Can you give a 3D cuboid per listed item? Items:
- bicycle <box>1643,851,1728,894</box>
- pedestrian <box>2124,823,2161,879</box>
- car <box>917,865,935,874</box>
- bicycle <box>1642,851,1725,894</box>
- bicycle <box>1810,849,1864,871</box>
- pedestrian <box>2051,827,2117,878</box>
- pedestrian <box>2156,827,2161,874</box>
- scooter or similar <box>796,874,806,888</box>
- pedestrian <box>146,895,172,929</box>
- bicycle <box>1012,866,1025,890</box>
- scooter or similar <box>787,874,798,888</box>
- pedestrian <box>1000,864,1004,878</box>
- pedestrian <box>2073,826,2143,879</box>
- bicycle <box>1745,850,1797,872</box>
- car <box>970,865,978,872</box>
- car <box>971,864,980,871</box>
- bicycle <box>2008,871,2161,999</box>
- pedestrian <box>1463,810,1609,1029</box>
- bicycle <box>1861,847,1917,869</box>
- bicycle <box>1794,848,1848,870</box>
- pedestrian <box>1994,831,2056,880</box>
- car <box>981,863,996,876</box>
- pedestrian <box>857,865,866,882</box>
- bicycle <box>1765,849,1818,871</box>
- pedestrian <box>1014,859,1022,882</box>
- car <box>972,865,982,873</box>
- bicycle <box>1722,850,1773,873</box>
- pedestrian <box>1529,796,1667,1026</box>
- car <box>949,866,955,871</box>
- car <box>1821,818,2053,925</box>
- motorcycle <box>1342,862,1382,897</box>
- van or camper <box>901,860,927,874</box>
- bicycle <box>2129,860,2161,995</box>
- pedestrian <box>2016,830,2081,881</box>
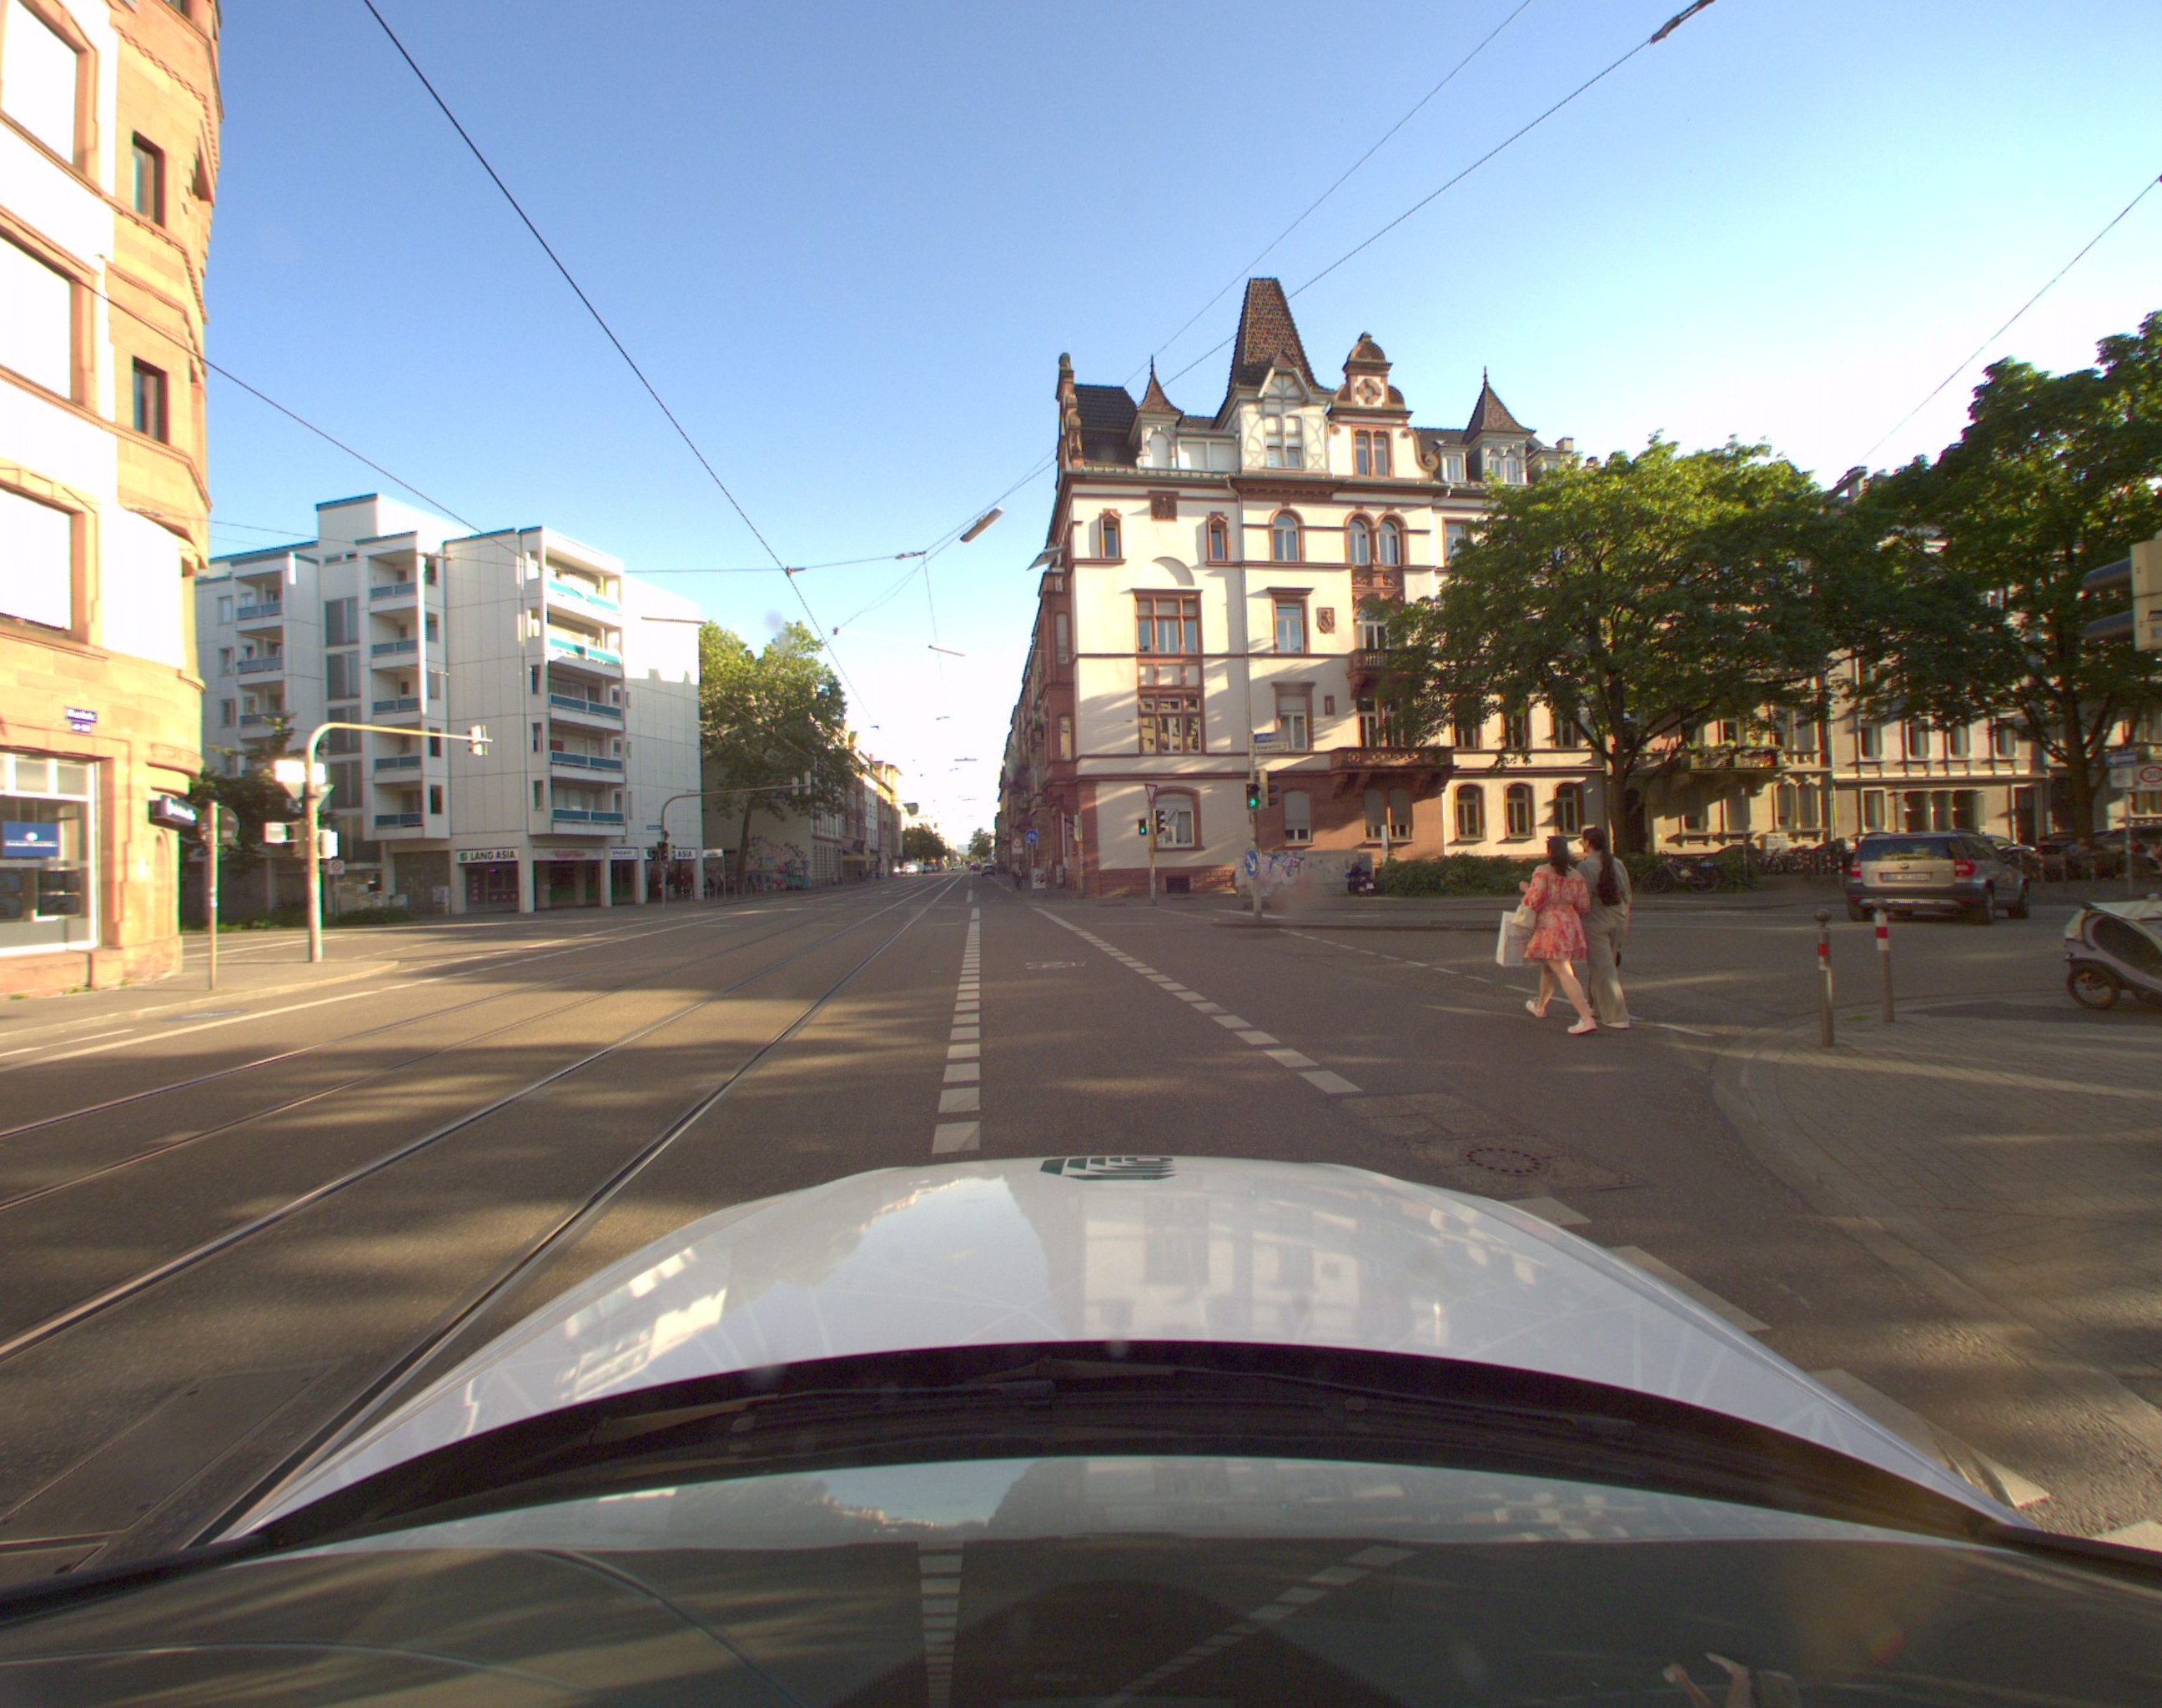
[{"bbox_3d":[17.088,0.530,23.060,1.841,1.161,0.563,-2,1,30],"label":"bicycle"},{"bbox_3d":[28.755,-0.091,21.645,0.904,1.428,0.770,-6,-2,25],"label":"pedestrian"},{"bbox_3d":[-37.581,3.792,197.470,4.015,2.014,1.979,-2,-1,-33],"label":"car"},{"bbox_3d":[17.399,0.532,23.580,1.841,1.161,0.563,-2,1,30],"label":"bicycle"},{"bbox_3d":[31.829,0.256,34.310,0.491,0.893,1.794,-2,-1,-5],"label":"bicycle"},{"bbox_3d":[30.350,-0.039,24.653,0.904,1.428,0.770,-6,-2,25],"label":"pedestrian"},{"bbox_3d":[28.343,-0.014,20.686,0.904,1.428,0.770,-6,-2,26],"label":"pedestrian"},{"bbox_3d":[-22.150,2.132,64.390,0.516,1.057,1.473,-2,-1,-9],"label":"scooter or similar"},{"bbox_3d":[-48.283,3.046,42.654,0.641,1.696,0.665,-2,-1,15],"label":"pedestrian"},{"bbox_3d":[-3.557,1.326,46.067,0.652,1.323,2.172,-2,-1,-5],"label":"bicycle"},{"bbox_3d":[-22.769,2.152,64.266,0.516,1.045,1.473,-2,-1,-9],"label":"scooter or similar"},{"bbox_3d":[-10.575,2.280,108.924,0.544,1.780,0.747,-2,-1,-7],"label":"pedestrian"},{"bbox_3d":[29.788,-0.044,23.632,0.904,1.428,0.770,-6,-2,26],"label":"pedestrian"},{"bbox_3d":[28.534,0.285,33.703,0.491,0.893,1.794,-2,-1,-5],"label":"bicycle"},{"bbox_3d":[-27.154,3.735,206.092,1.992,1.728,3.988,-1,-1,-8],"label":"car"},{"bbox_3d":[-25.690,3.353,197.956,1.992,1.728,3.988,-1,-1,-8],"label":"car"},{"bbox_3d":[9.342,0.692,7.310,0.775,1.045,1.063,-2,-2,2],"label":"bicycle"},{"bbox_3d":[3.994,0.543,7.182,0.807,1.800,0.757,1,0,-17],"label":"pedestrian"},{"bbox_3d":[34.343,0.192,34.649,0.491,0.893,1.794,-2,-1,-5],"label":"bicycle"},{"bbox_3d":[30.899,0.228,34.039,0.491,0.893,1.794,-2,-1,-5],"label":"bicycle"},{"bbox_3d":[29.225,0.050,25.238,0.904,1.428,0.770,-6,-2,25],"label":"pedestrian"},{"bbox_3d":[-12.998,2.145,114.858,1.948,1.684,3.991,-2,-1,-6],"label":"car"},{"bbox_3d":[-22.763,2.055,84.393,0.701,1.728,0.646,-2,-1,-8],"label":"pedestrian"},{"bbox_3d":[29.416,0.262,33.746,0.491,0.893,1.794,-2,-1,-5],"label":"bicycle"},{"bbox_3d":[-4.910,1.251,63.243,0.544,1.780,0.503,-2,-1,-7],"label":"pedestrian"},{"bbox_3d":[-22.346,3.289,174.946,1.992,1.728,3.988,-1,-1,-8],"label":"car"},{"bbox_3d":[27.510,0.312,33.644,0.491,0.893,1.794,-2,-1,-5],"label":"bicycle"},{"bbox_3d":[4.561,0.472,7.211,0.693,1.909,0.665,-2,-2,-21],"label":"pedestrian"},{"bbox_3d":[-40.686,4.693,256.674,1.818,1.442,3.989,-1,-1,-8],"label":"car"},{"bbox_3d":[15.968,0.256,15.179,4.011,1.618,1.982,-3,1,-29],"label":"car"},{"bbox_3d":[9.550,0.852,27.739,0.716,1.020,2.290,-2,2,4],"label":"motorcycle"},{"bbox_3d":[-33.346,2.548,162.243,4.673,2.563,1.977,-1,-2,-39],"label":"van or camper"},{"bbox_3d":[10.124,0.636,6.650,0.503,1.223,1.918,-2,-2,-3],"label":"bicycle"},{"bbox_3d":[28.824,0.042,24.274,0.904,1.428,0.770,-6,-2,26],"label":"pedestrian"}]
